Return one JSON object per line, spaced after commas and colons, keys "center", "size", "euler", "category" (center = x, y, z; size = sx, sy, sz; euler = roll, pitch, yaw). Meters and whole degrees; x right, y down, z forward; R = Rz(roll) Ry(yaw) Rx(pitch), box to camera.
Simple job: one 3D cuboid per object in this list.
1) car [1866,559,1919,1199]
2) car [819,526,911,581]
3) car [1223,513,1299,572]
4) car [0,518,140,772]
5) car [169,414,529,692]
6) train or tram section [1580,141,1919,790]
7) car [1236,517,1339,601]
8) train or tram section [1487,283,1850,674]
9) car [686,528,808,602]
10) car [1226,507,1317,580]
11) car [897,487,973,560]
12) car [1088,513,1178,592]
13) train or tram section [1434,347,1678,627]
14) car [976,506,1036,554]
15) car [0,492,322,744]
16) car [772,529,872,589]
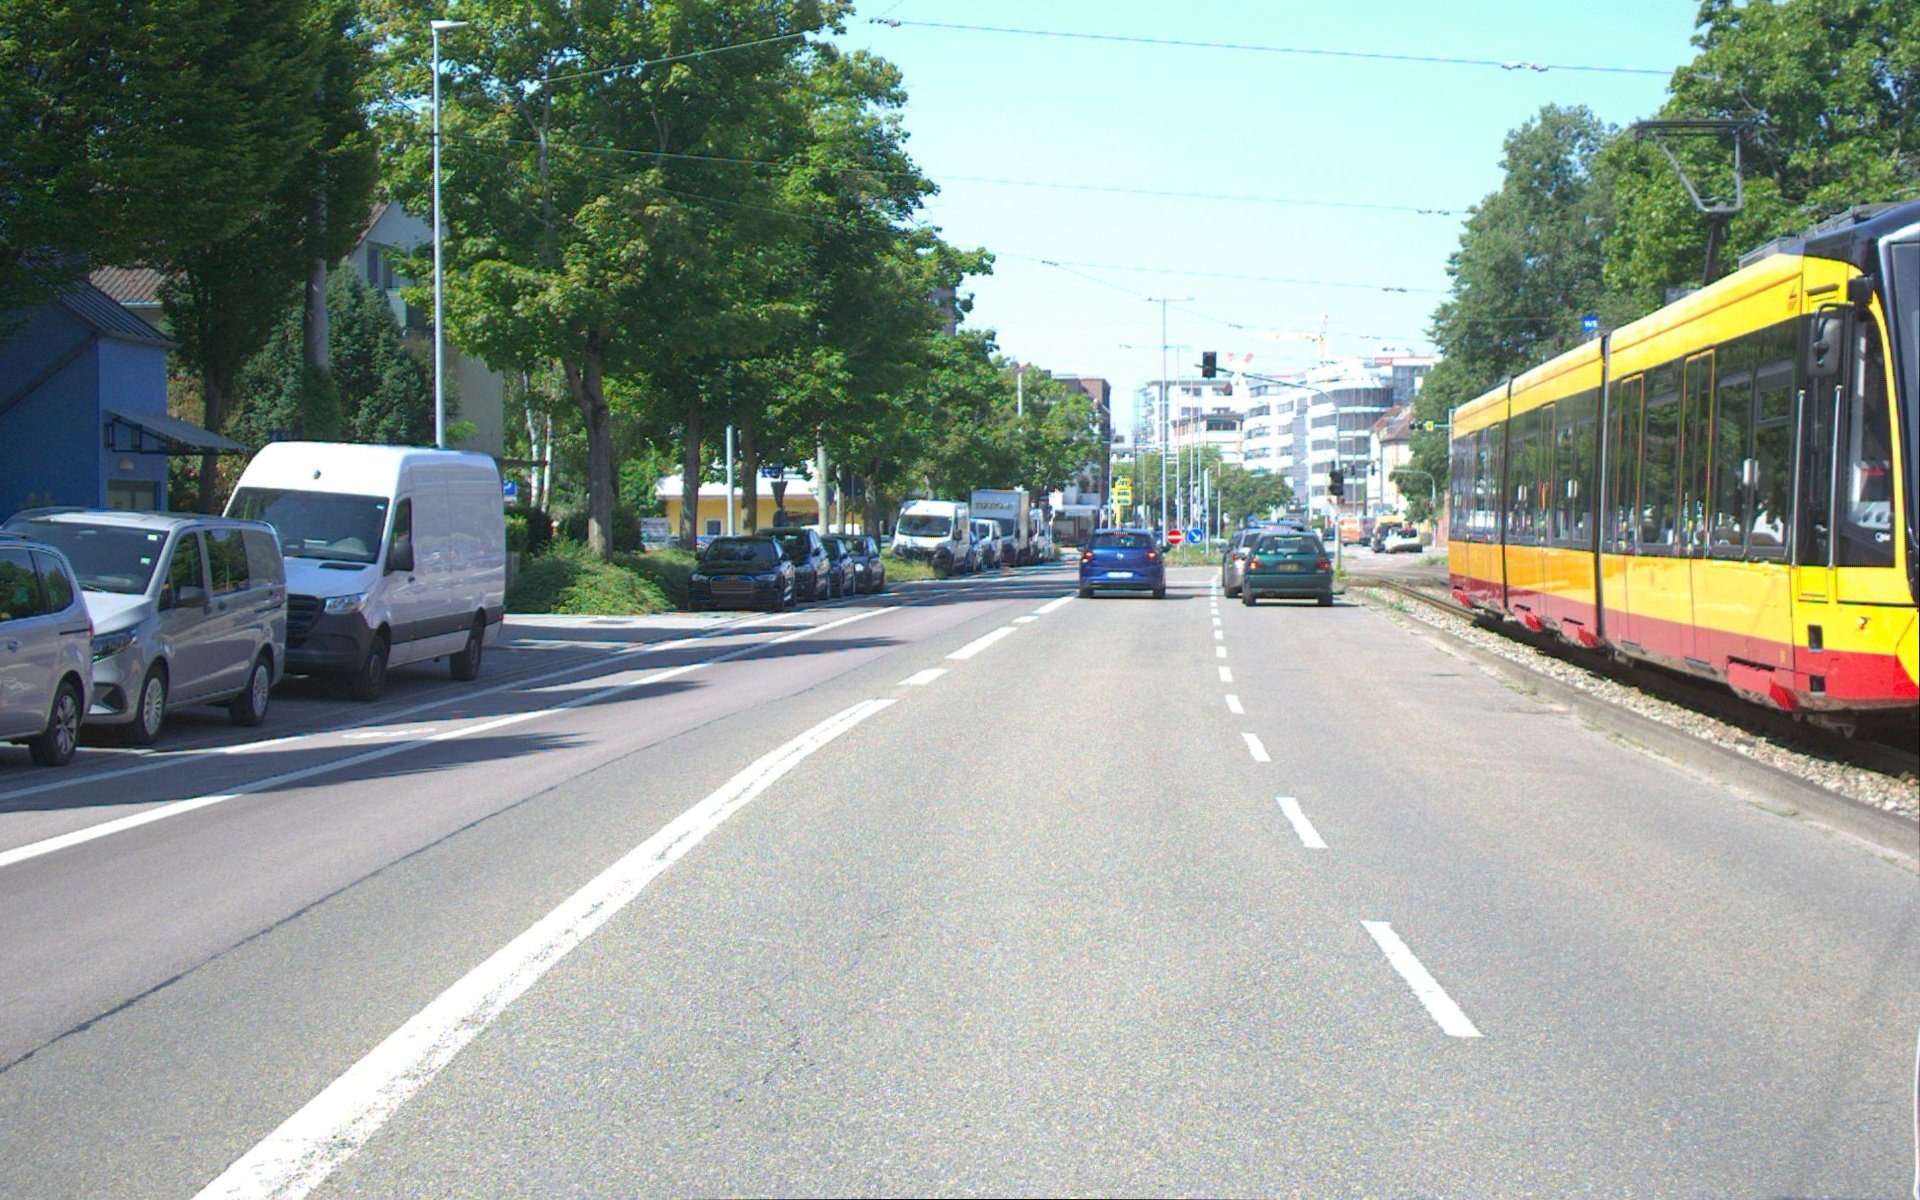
{"center": [2.633, 0.706, 4.423], "size": [1.691, 1.446, 4.459], "euler": [0, 2, -1], "category": "car"}
{"center": [-2.377, -1.192, 86.712], "size": [1.700, 1.347, 3.999], "euler": [0, 1, 8], "category": "car"}
{"center": [7.558, -1.461, 86.452], "size": [1.801, 1.455, 4.000], "euler": [0, 2, 4], "category": "car"}
{"center": [-7.519, 0.286, 24.393], "size": [1.801, 1.718, 4.909], "euler": [3, 2, 5], "category": "car"}
{"center": [-6.574, -0.548, 38.003], "size": [1.995, 2.705, 7.156], "euler": [3, 1, 5], "category": "car"}
{"center": [6.804, -0.946, 26.381], "size": [2.511, 3.734, 13.310], "euler": [0, 1, 4], "category": "train or tram section"}
{"center": [6.233, -0.814, 65.694], "size": [1.801, 1.502, 4.000], "euler": [1, 2, 4], "category": "car"}
{"center": [7.801, -1.330, 39.577], "size": [2.512, 3.734, 13.309], "euler": [0, 1, 5], "category": "train or tram section"}
{"center": [-4.216, -0.724, 68.609], "size": [1.700, 1.412, 3.999], "euler": [0, 1, 8], "category": "car"}
{"center": [6.585, -1.215, 72.976], "size": [1.801, 1.455, 4.000], "euler": [1, 2, 4], "category": "car"}
{"center": [-0.814, -2.569, 115.604], "size": [1.880, 2.407, 5.115], "euler": [0, 1, 8], "category": "car"}
{"center": [3.607, -1.012, 71.218], "size": [1.801, 1.502, 4.000], "euler": [1, 3, 4], "category": "car"}
{"center": [8.913, -1.686, 52.793], "size": [2.512, 3.734, 13.309], "euler": [0, 1, 5], "category": "train or tram section"}
{"center": [1.844, -2.789, 136.485], "size": [1.827, 1.860, 4.723], "euler": [0, 1, 8], "category": "car"}
{"center": [-7.243, 0.075, 30.090], "size": [1.920, 1.941, 5.354], "euler": [3, 1, 4], "category": "car"}
{"center": [-3.234, -0.990, 81.467], "size": [1.700, 1.347, 3.999], "euler": [0, 1, 8], "category": "car"}
